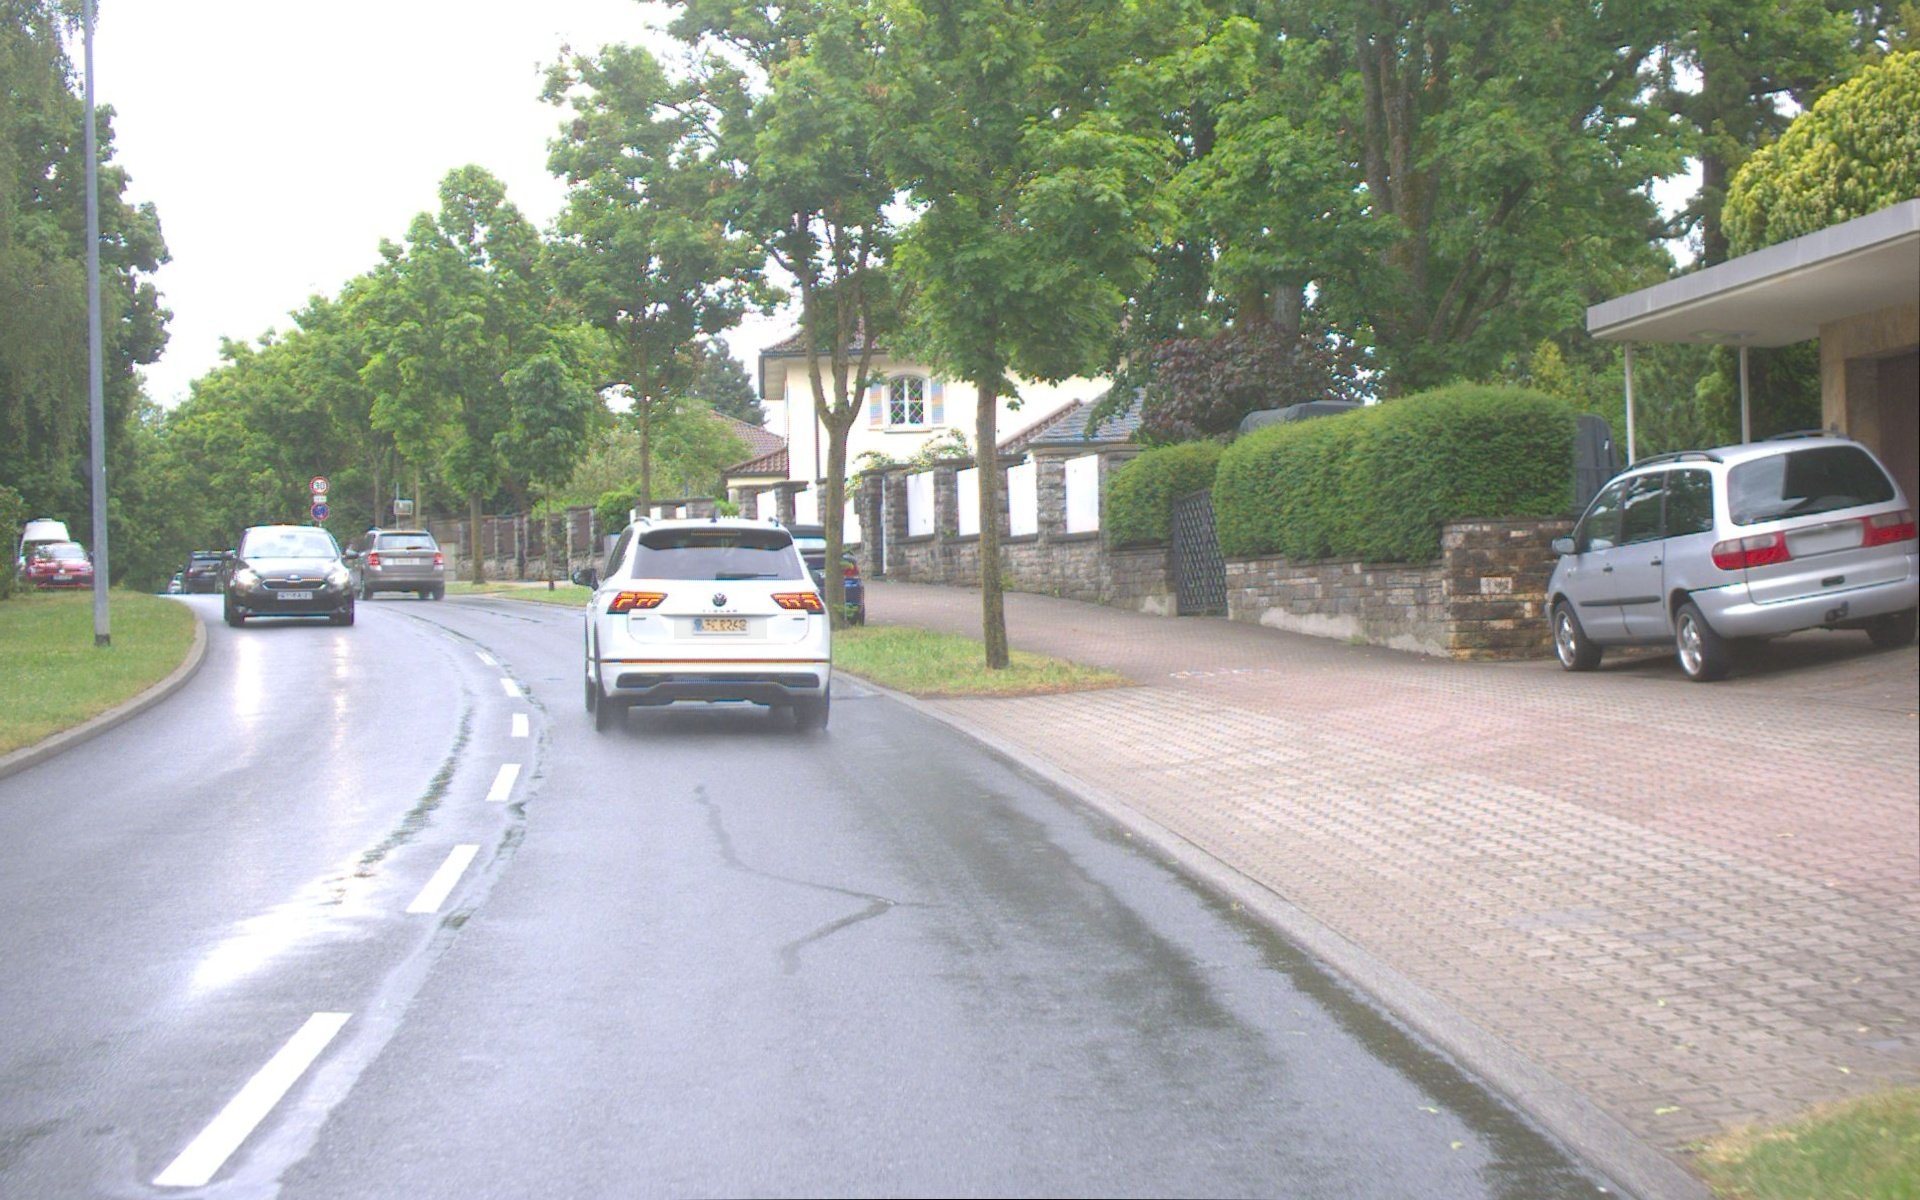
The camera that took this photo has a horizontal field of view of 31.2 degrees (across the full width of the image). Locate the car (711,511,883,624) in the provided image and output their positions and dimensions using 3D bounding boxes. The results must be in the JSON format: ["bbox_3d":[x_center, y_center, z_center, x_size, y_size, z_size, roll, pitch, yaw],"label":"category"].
[{"bbox_3d":[-2.230,-0.462,46.064,1.641,1.373,3.830,-3,2,-12],"label":"car"}]

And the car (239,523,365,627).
[{"bbox_3d":[-9.793,-0.403,51.195,1.754,1.436,4.158,0,2,-11],"label":"car"}]

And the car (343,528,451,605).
[{"bbox_3d":[-11.698,-0.707,71.263,1.840,1.482,4.002,0,2,-14],"label":"car"}]

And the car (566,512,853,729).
[{"bbox_3d":[-2.109,0.106,27.910,1.996,1.626,4.001,0,1,-9],"label":"car"}]

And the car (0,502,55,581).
[{"bbox_3d":[-31.477,-1.928,115.213,1.993,2.552,5.234,-1,0,-16],"label":"car"}]

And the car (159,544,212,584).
[{"bbox_3d":[-29.561,-1.400,131.214,1.851,1.413,4.227,0,2,-14],"label":"car"}]

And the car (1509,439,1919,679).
[{"bbox_3d":[6.100,-0.362,28.055,1.794,1.751,4.944,-1,1,-8],"label":"car"}]

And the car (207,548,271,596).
[{"bbox_3d":[-23.170,-0.906,110.396,1.851,1.413,4.227,0,2,-14],"label":"car"}]

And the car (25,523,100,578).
[{"bbox_3d":[-24.874,-1.366,95.185,1.842,1.461,4.251,-1,1,-17],"label":"car"}]
